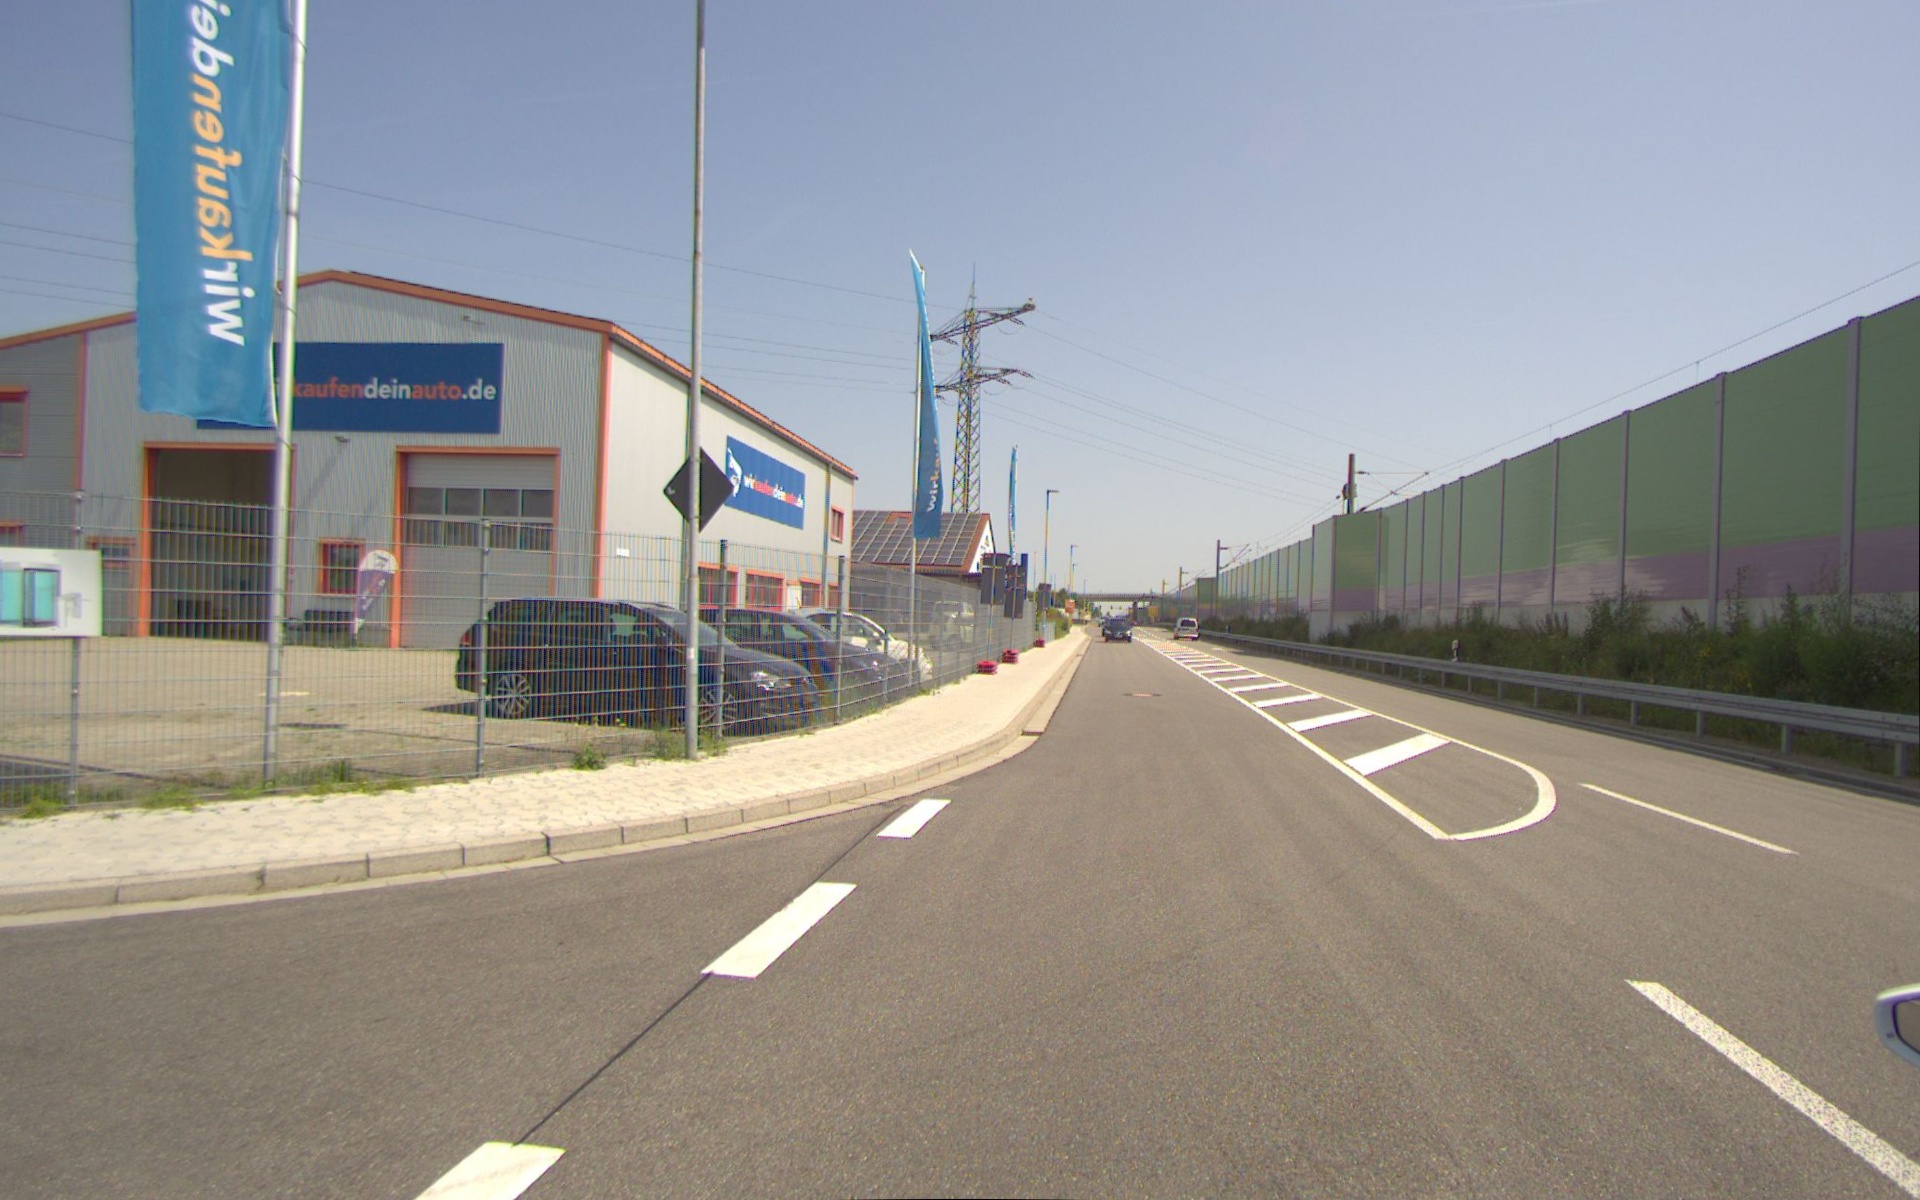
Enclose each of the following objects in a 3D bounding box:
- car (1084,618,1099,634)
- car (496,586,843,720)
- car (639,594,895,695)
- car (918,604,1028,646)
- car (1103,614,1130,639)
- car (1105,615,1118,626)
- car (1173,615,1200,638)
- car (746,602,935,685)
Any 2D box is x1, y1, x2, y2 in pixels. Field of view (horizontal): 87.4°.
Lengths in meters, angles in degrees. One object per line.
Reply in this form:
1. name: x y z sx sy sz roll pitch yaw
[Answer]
1. car: 18.005 3.510 137.057 1.959 2.040 4.003 2 -1 8
2. car: -3.652 0.639 13.043 3.919 1.522 1.776 1 0 5
3. car: -3.153 0.722 16.984 3.920 1.522 1.775 1 0 1
4. car: 0.538 0.996 40.077 4.041 1.513 1.732 2 -1 -27
5. car: 10.578 1.781 67.882 1.712 1.615 3.799 -1 -1 8
6. car: 20.629 2.820 136.997 1.734 1.485 4.262 0 -1 7
7. car: 18.734 2.213 83.291 1.959 1.780 4.003 2 -1 10
8. car: -2.362 0.840 19.680 3.431 1.484 1.584 2 -1 -17
